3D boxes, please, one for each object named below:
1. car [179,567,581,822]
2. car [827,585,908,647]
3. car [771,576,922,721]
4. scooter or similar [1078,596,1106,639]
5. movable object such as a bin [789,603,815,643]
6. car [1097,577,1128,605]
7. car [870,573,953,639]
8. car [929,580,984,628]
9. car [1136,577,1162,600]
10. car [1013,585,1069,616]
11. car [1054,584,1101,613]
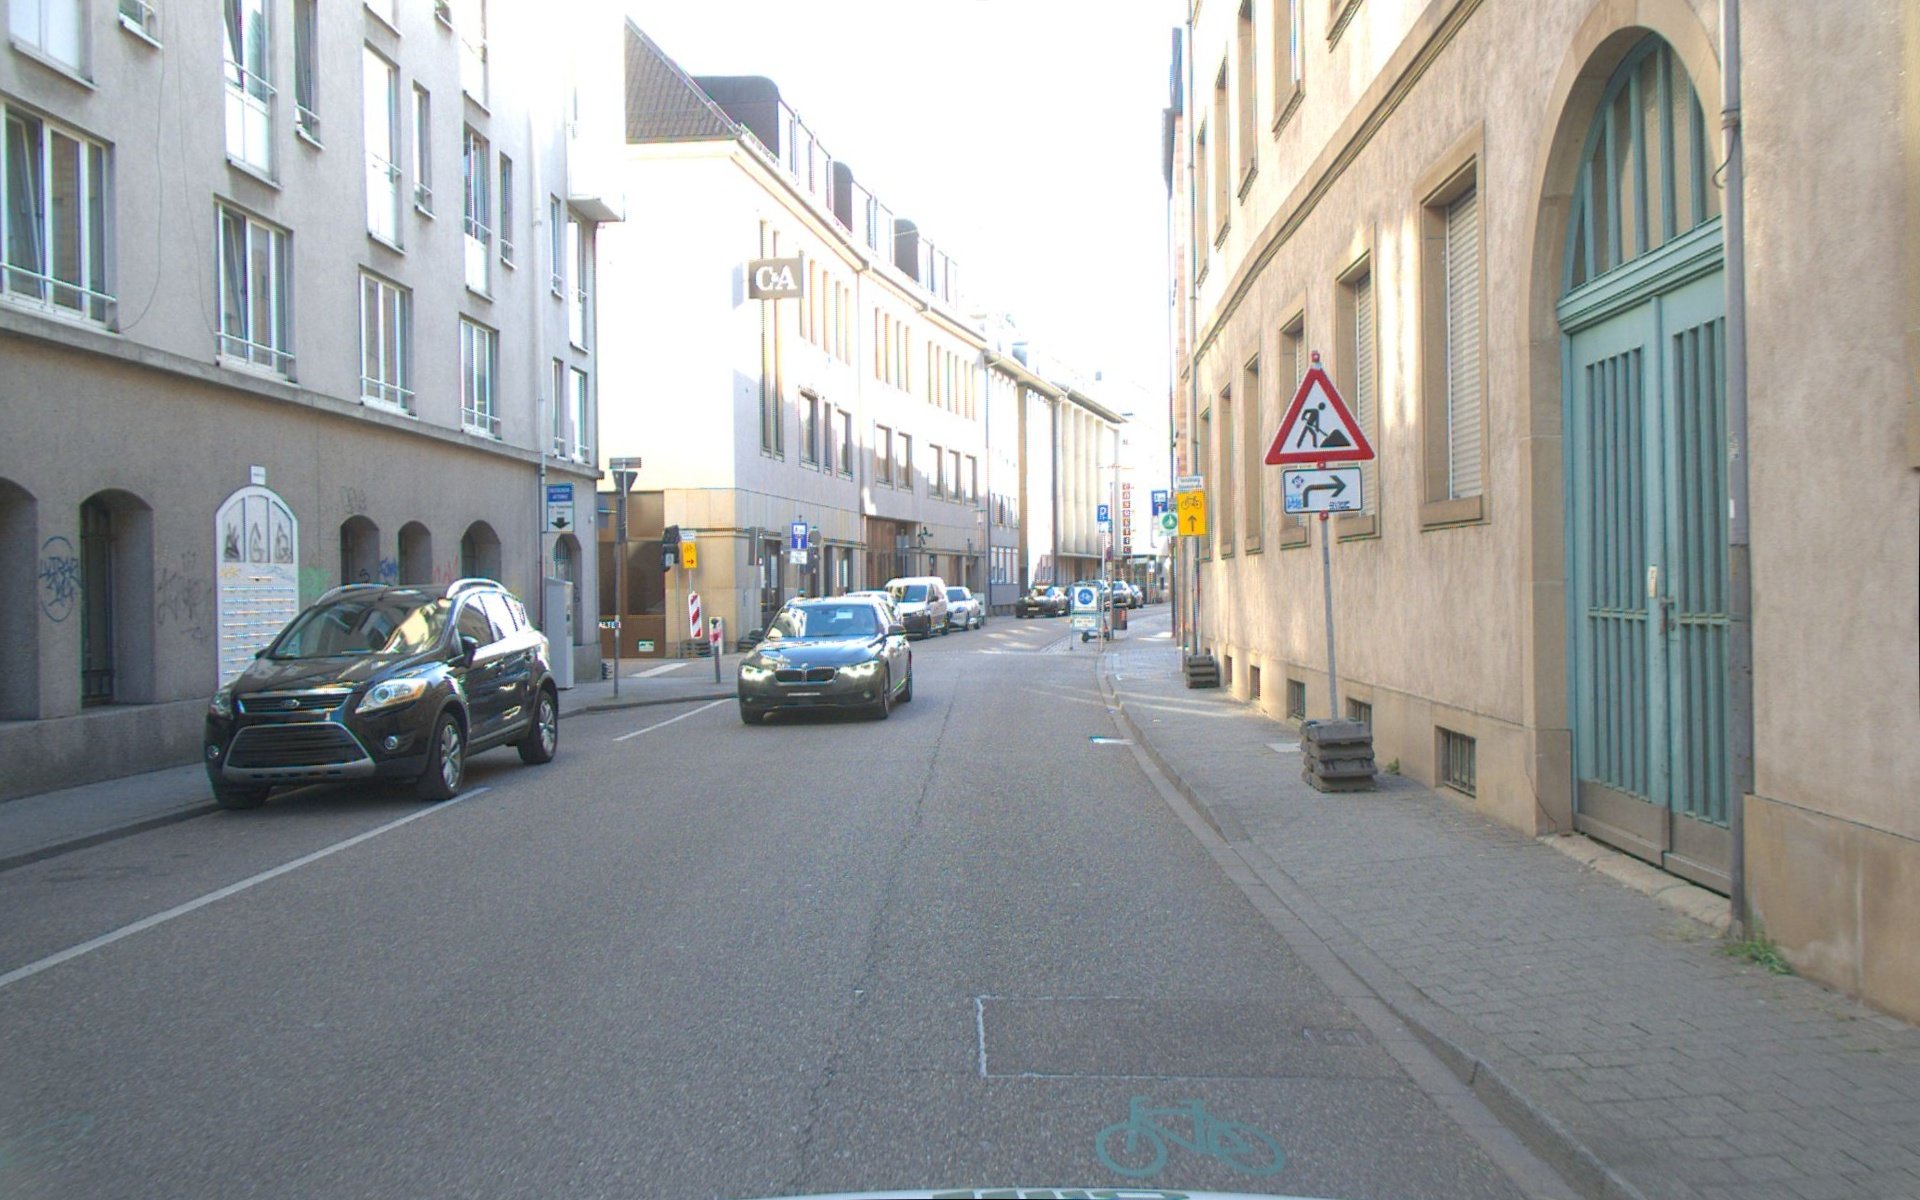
[{"bbox_3d":[-4.687,0.660,14.086,1.704,1.740,4.192,-4,1,2],"label":"car"},{"bbox_3d":[-2.444,0.400,44.597,1.635,1.533,3.796,-3,0,4],"label":"car"},{"bbox_3d":[-1.510,0.536,20.840,1.682,1.605,4.184,-1,0,-6],"label":"car"},{"bbox_3d":[3.643,0.486,45.622,0.754,1.156,0.269,1,0,6],"label":"scooter or similar"},{"bbox_3d":[-4.379,0.629,45.871,0.596,1.079,0.713,1,0,1],"label":"movable object such as a bin"},{"bbox_3d":[8.889,-0.543,96.086,1.310,1.520,3.513,-1,1,13],"label":"car"},{"bbox_3d":[-1.415,0.127,50.411,1.635,1.850,4.556,-3,0,9],"label":"car"},{"bbox_3d":[-0.091,0.122,56.530,1.244,1.533,3.405,-2,0,10],"label":"car"},{"bbox_3d":[12.941,-0.777,113.168,1.310,1.520,3.350,-1,1,13],"label":"car"},{"bbox_3d":[3.775,0.007,76.721,1.841,1.355,4.104,-1,1,13],"label":"car"},{"bbox_3d":[5.932,-0.080,82.910,1.687,1.364,4.004,-1,1,13],"label":"car"}]
